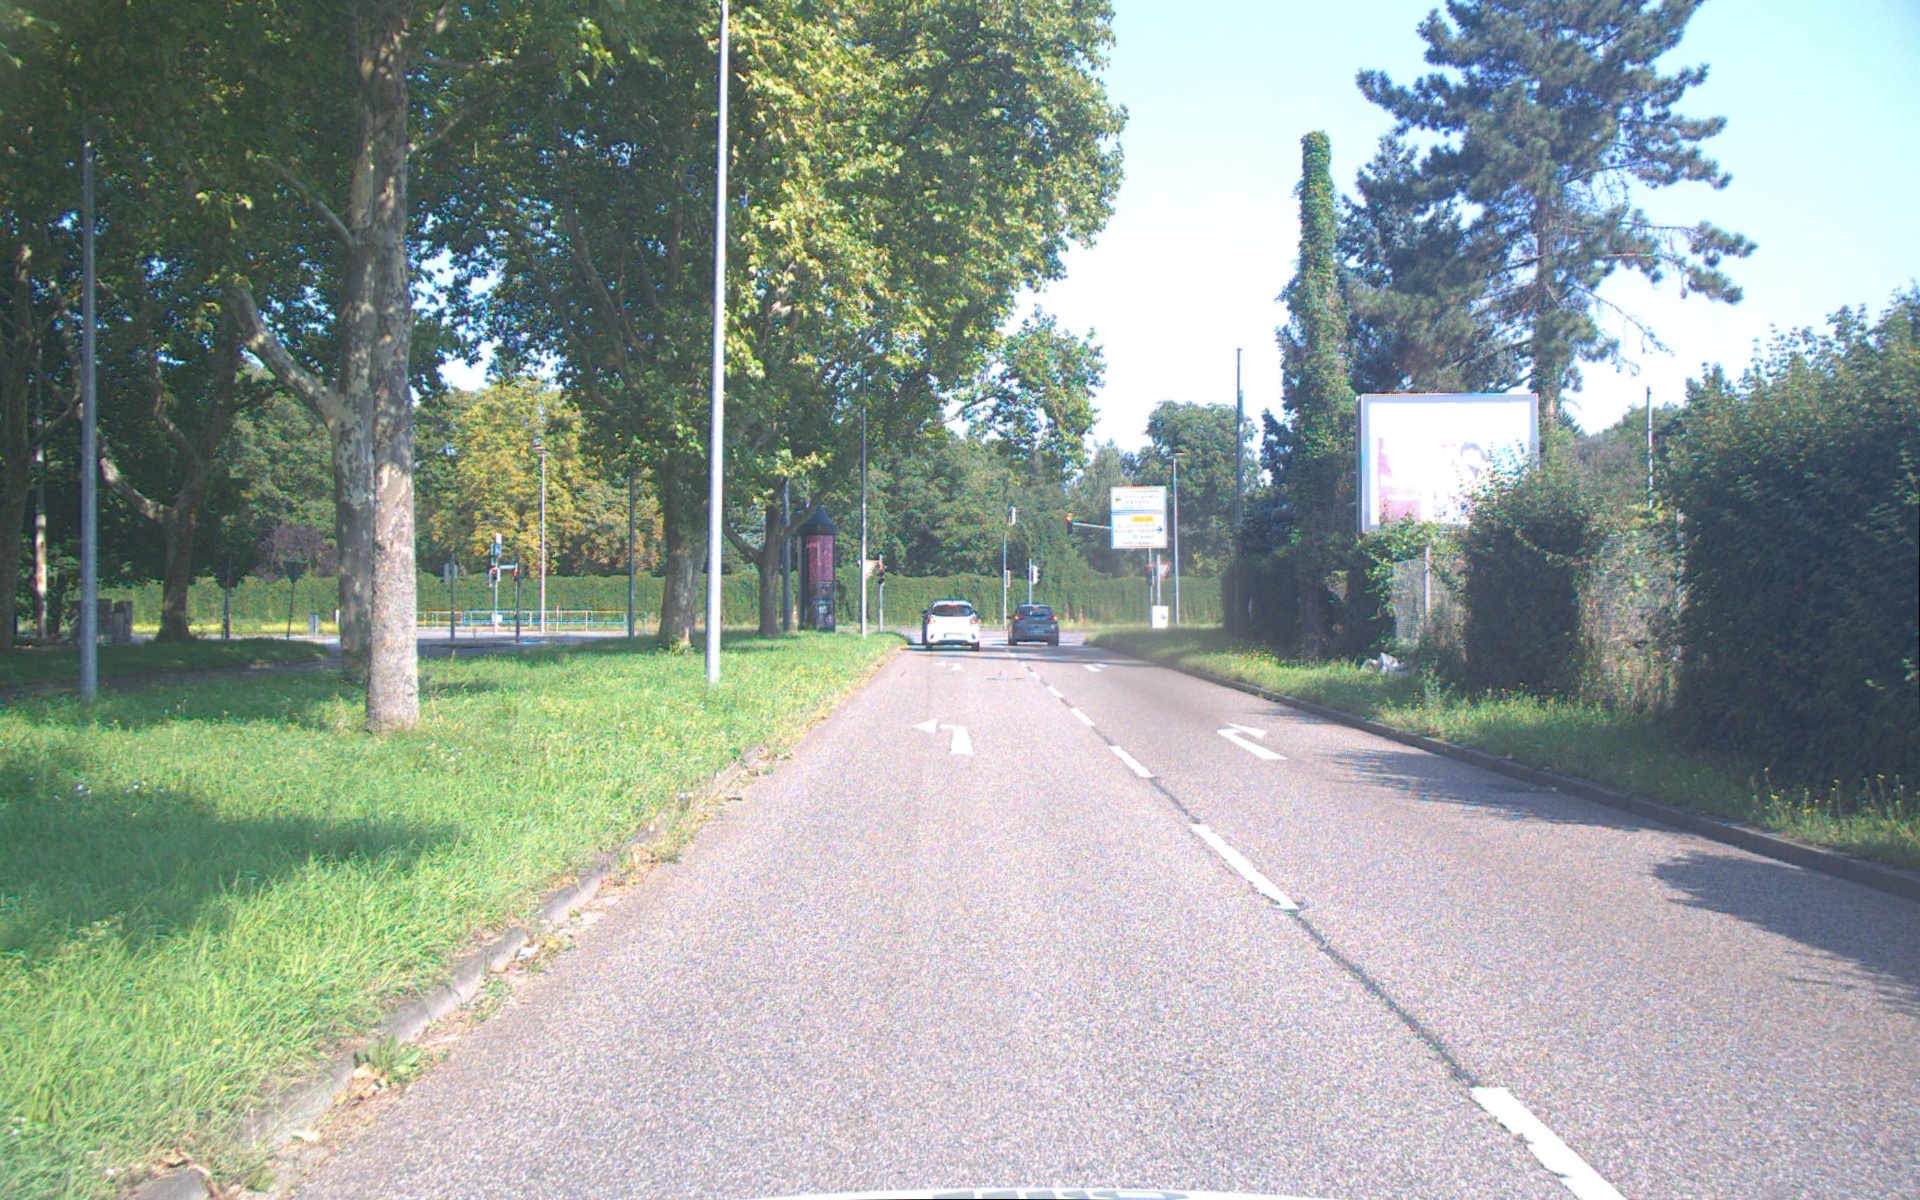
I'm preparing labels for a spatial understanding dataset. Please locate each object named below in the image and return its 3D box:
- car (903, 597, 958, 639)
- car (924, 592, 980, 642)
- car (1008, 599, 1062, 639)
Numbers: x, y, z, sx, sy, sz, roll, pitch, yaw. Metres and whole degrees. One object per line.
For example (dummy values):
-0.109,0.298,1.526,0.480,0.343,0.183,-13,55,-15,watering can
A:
-1.032,0.641,60.251,1.652,1.487,3.851,0,0,4,car
-0.227,0.526,51.727,1.652,1.487,4.000,0,0,1,car
2.723,0.689,60.471,1.761,1.426,3.999,0,0,-1,car
